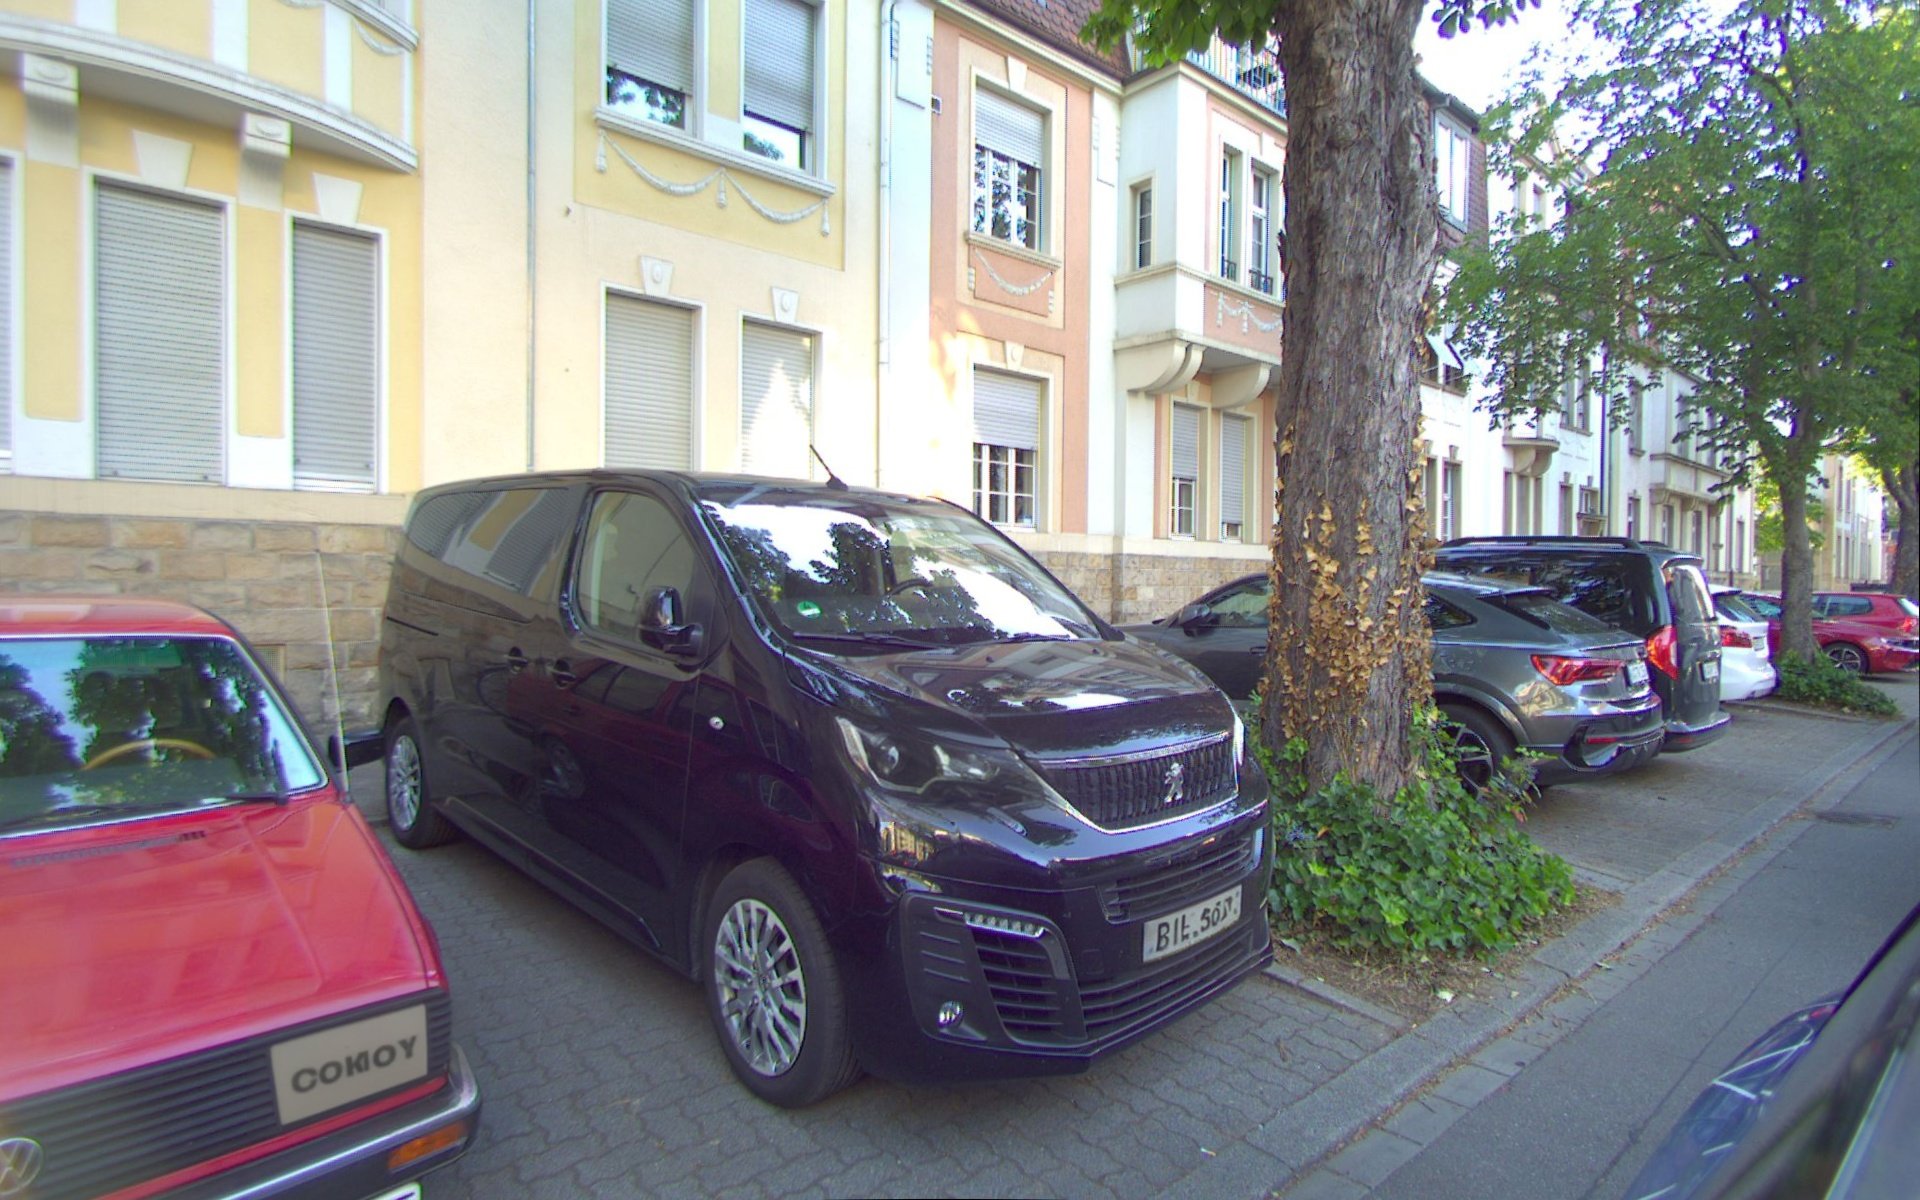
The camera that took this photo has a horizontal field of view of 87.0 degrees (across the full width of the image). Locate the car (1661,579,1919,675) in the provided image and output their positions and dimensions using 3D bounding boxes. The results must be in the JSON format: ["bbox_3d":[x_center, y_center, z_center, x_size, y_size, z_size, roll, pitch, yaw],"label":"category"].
[{"bbox_3d":[14.886,0.402,18.057,1.511,1.420,3.621,0,3,-40],"label":"car"}]

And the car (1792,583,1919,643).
[{"bbox_3d":[24.065,0.336,26.245,1.511,1.420,3.621,0,3,-40],"label":"car"}]

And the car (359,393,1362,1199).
[{"bbox_3d":[-0.988,0.340,4.536,1.851,1.846,4.825,-1,4,-44],"label":"car"}]

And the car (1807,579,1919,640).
[{"bbox_3d":[25.952,0.255,28.011,1.511,1.584,3.621,0,2,-40],"label":"car"}]

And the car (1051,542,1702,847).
[{"bbox_3d":[2.788,0.412,7.523,1.569,1.611,4.165,-1,4,-44],"label":"car"}]

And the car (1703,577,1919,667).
[{"bbox_3d":[16.865,0.373,19.677,1.511,1.482,3.621,0,3,-40],"label":"car"}]

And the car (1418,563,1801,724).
[{"bbox_3d":[7.718,0.393,12.254,1.513,1.569,3.616,-1,3,-45],"label":"car"}]

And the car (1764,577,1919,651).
[{"bbox_3d":[21.621,0.307,24.102,1.511,1.584,3.621,0,2,-40],"label":"car"}]

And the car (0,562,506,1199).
[{"bbox_3d":[-2.807,0.606,2.979,1.532,1.336,3.917,-1,4,-43],"label":"car"}]

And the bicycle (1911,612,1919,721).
[{"bbox_3d":[10.957,0.701,10.975,1.978,1.132,0.743,0,0,-41],"label":"bicycle"}]

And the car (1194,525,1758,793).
[{"bbox_3d":[4.331,0.282,9.019,1.569,1.849,4.165,-1,4,-44],"label":"car"}]
